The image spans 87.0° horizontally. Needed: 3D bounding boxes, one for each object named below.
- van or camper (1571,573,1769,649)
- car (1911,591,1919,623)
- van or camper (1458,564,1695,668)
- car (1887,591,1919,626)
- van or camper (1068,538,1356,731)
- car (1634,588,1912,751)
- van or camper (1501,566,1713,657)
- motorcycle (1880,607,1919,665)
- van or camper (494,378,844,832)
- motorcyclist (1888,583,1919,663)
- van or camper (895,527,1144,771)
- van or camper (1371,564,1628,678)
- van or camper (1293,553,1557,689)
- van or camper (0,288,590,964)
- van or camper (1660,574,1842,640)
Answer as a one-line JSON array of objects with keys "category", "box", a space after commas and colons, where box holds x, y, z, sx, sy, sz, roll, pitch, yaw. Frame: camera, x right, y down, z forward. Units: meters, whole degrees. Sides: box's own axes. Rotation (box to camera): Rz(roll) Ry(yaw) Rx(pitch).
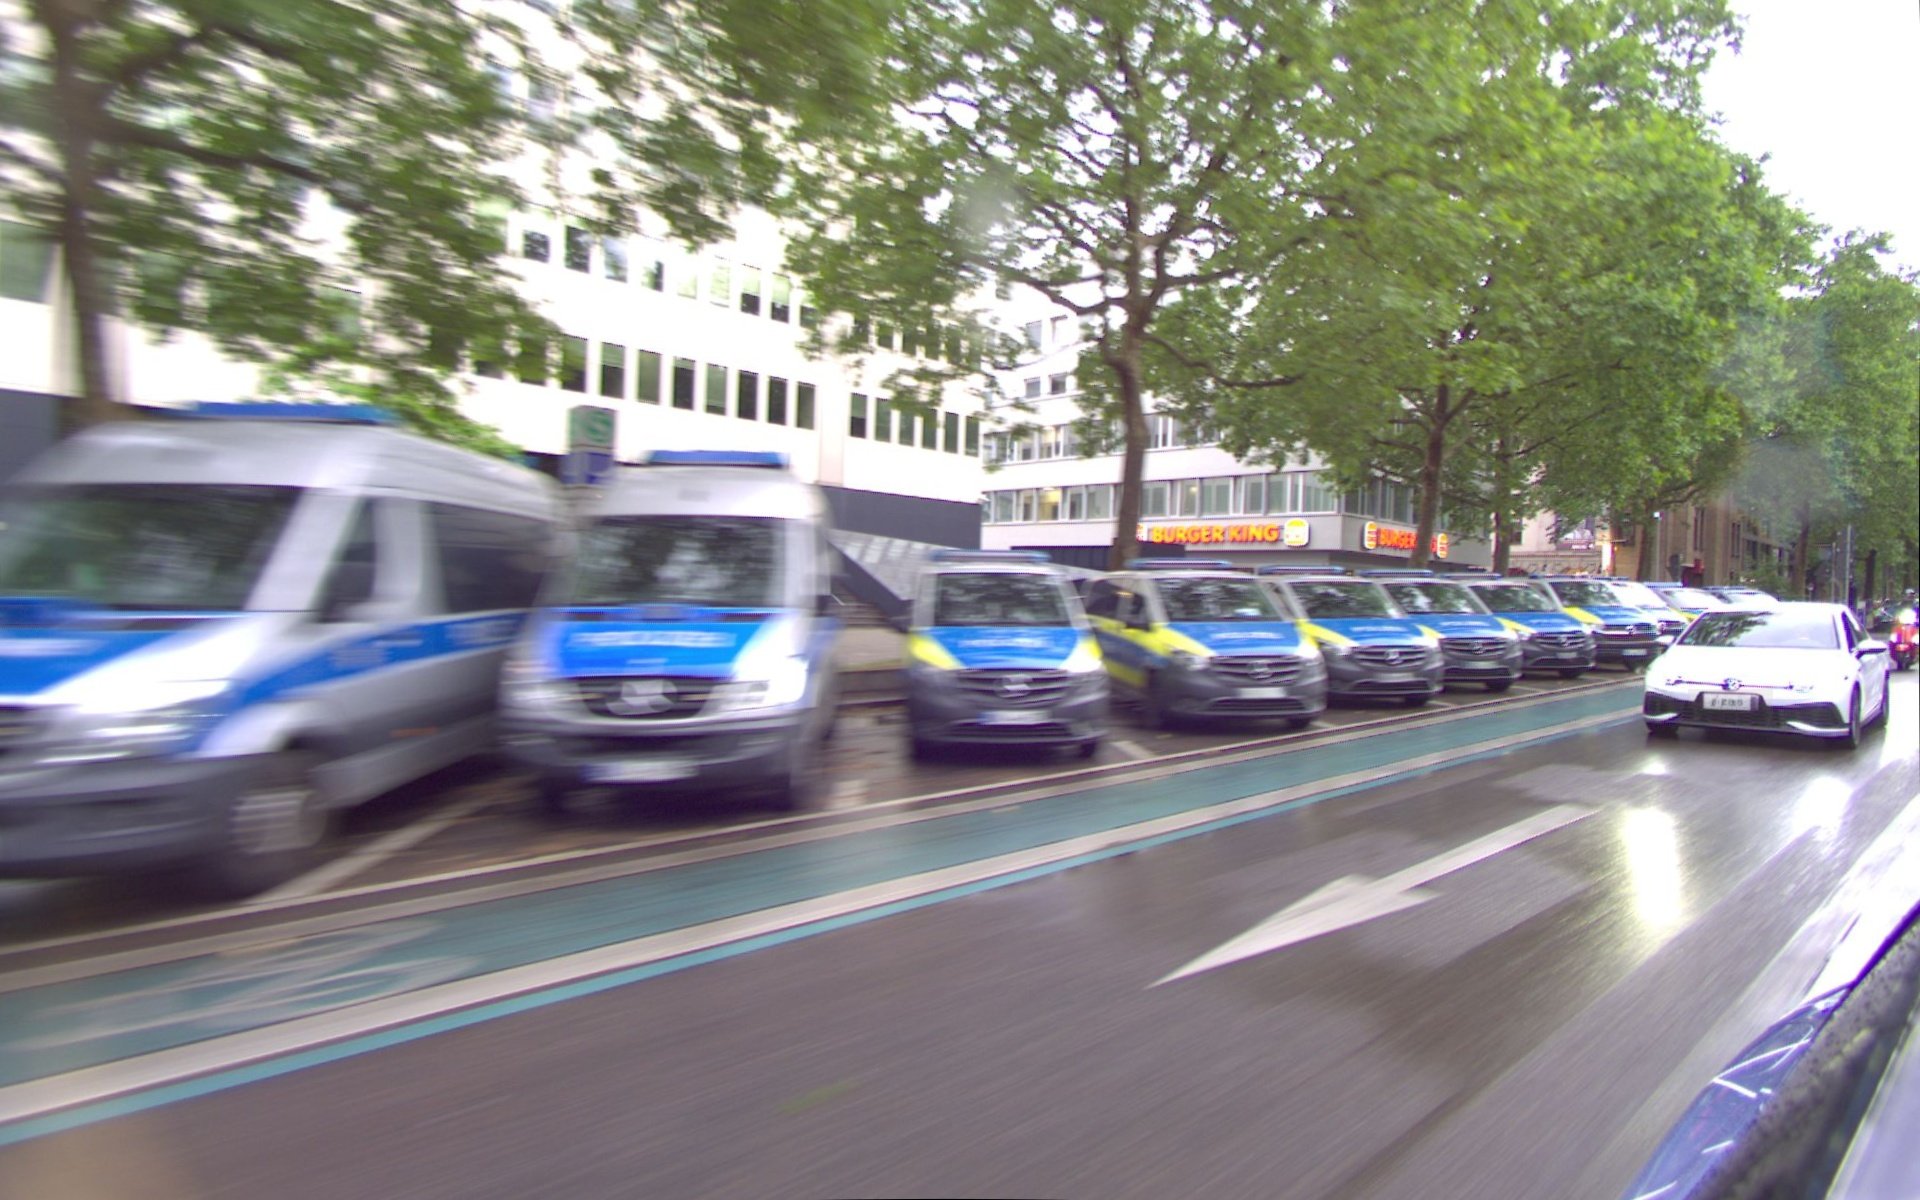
[{"category": "van or camper", "box": [20.738, 0.300, 29.890, 1.957, 2.045, 5.092, 0, 0, -4]}, {"category": "car", "box": [49.885, 0.365, 51.740, 1.752, 1.605, 4.339, 0, 0, 44]}, {"category": "van or camper", "box": [13.260, 0.278, 22.205, 1.960, 2.036, 4.800, 0, 1, -5]}, {"category": "car", "box": [46.032, 0.391, 48.660, 4.349, 1.623, 1.795, 0, 0, -43]}, {"category": "van or camper", "box": [2.958, 0.343, 13.316, 1.960, 2.017, 5.215, -1, 0, -6]}, {"category": "car", "box": [9.394, 0.630, 11.550, 4.433, 1.463, 1.864, 0, 2, -43]}, {"category": "van or camper", "box": [15.656, 0.223, 24.879, 1.831, 2.023, 4.859, 0, 1, -4]}, {"category": "motorcycle", "box": [20.468, 0.748, 21.581, 0.862, 1.157, 1.999, 0, 0, 31]}, {"category": "van or camper", "box": [-2.081, -0.015, 9.028, 1.960, 2.714, 5.819, 1, 1, -6]}, {"category": "motorcyclist", "box": [20.432, 0.479, 21.539, 0.842, 1.665, 0.862, 0, 0, 31]}, {"category": "van or camper", "box": [0.354, 0.381, 11.083, 1.960, 2.039, 5.022, -1, 1, -5]}, {"category": "van or camper", "box": [10.643, 0.321, 20.516, 1.959, 2.020, 5.033, 0, 1, -8]}, {"category": "van or camper", "box": [7.905, 0.286, 17.925, 2.064, 2.050, 5.112, 1, 1, -3]}, {"category": "van or camper", "box": [-4.492, 0.059, 6.940, 2.105, 2.711, 5.821, 0, 1, -4]}, {"category": "van or camper", "box": [25.994, 0.199, 33.549, 1.963, 2.017, 4.950, 0, 0, -3]}]
